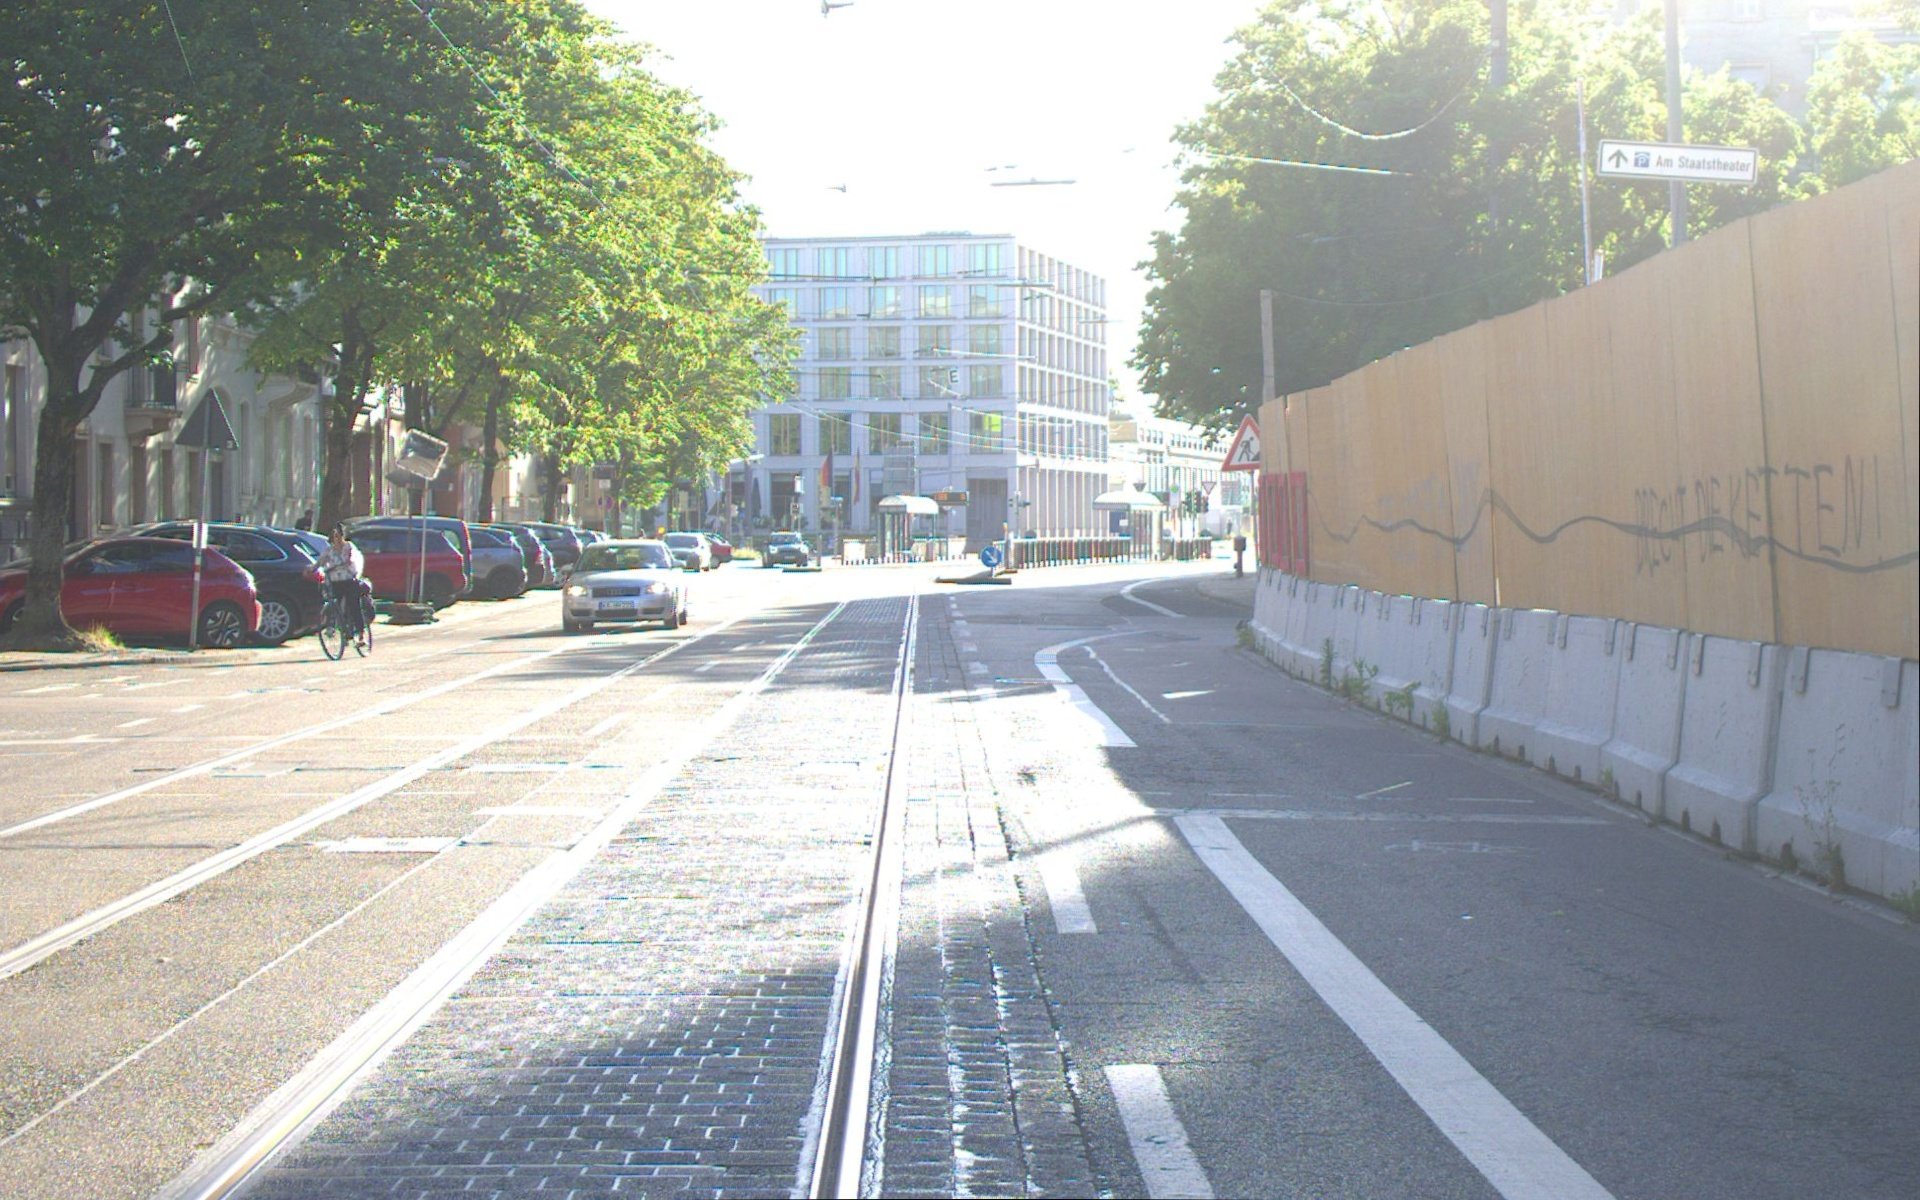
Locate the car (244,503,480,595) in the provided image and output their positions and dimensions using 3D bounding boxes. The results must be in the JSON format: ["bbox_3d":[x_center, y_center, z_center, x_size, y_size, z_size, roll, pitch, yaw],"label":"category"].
[{"bbox_3d":[-11.458,-0.977,65.921,4.159,1.715,1.584,0,1,-27],"label":"car"}]

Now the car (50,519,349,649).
[{"bbox_3d":[-10.465,-0.253,47.368,3.674,1.715,1.611,-1,2,-35],"label":"car"}]

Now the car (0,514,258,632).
[{"bbox_3d":[-11.245,-0.342,44.455,3.901,1.448,1.638,1,0,-34],"label":"car"}]

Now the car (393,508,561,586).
[{"bbox_3d":[-10.642,-1.170,75.788,3.372,1.692,1.405,0,1,-28],"label":"car"}]

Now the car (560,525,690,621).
[{"bbox_3d":[-5.229,-0.460,54.094,1.709,1.431,4.171,0,1,-1],"label":"car"}]

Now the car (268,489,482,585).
[{"bbox_3d":[-11.731,-1.256,68.986,3.828,1.826,1.732,1,1,-30],"label":"car"}]

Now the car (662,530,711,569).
[{"bbox_3d":[-10.491,-1.941,132.028,1.573,1.485,4.000,0,1,0],"label":"car"}]

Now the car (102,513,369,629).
[{"bbox_3d":[-11.135,-0.469,52.932,3.674,1.715,1.611,-1,2,-35],"label":"car"}]

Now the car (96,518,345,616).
[{"bbox_3d":[-12.046,-0.561,56.104,3.674,1.522,1.483,-1,2,-35],"label":"car"}]

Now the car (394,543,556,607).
[{"bbox_3d":[-11.016,-0.571,78.153,3.372,1.415,1.405,0,1,-28],"label":"car"}]

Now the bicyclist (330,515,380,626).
[{"bbox_3d":[-7.580,-0.372,43.083,0.457,1.373,0.640,0,1,5],"label":"bicyclist"}]

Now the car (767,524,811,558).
[{"bbox_3d":[-7.744,-2.680,155.913,1.558,1.525,4.000,0,1,4],"label":"car"}]

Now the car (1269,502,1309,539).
[{"bbox_3d":[18.244,-4.399,190.514,1.994,2.007,3.999,0,1,8],"label":"car"}]

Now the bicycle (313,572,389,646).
[{"bbox_3d":[-7.603,0.104,43.007,0.449,0.878,1.901,0,1,5],"label":"bicycle"}]
